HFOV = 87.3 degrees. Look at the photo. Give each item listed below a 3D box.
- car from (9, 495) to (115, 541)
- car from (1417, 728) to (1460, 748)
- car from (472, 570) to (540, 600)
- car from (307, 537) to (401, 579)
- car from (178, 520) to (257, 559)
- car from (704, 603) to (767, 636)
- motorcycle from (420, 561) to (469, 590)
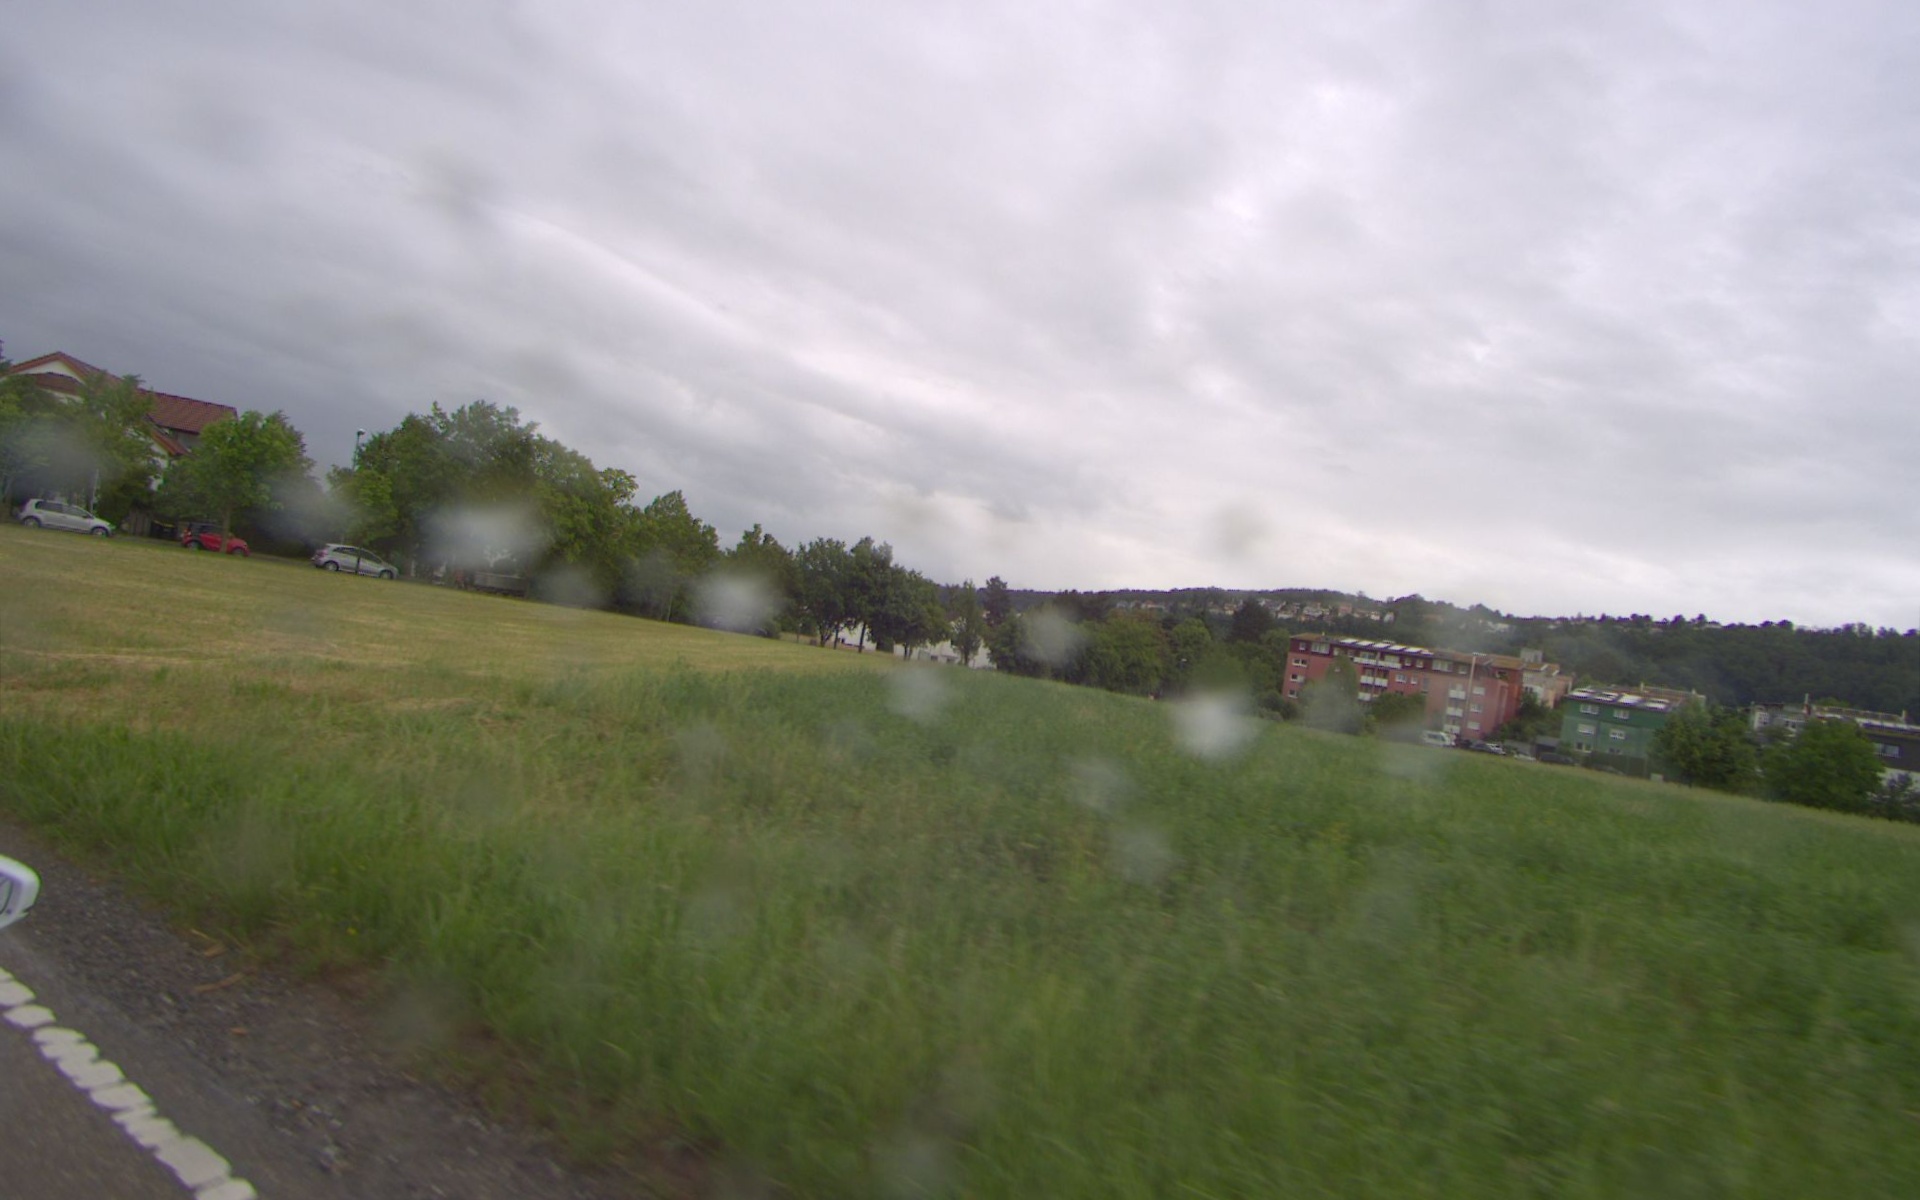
[{"bbox_3d":[-41.995,-3.809,47.168,3.531,1.496,1.661,9,-3,-41],"label":"car"},{"bbox_3d":[70.232,20.227,147.595,1.987,2.037,5.222,8,-3,-41],"label":"car"},{"bbox_3d":[-27.758,-0.930,61.566,1.710,1.295,3.314,6,-3,43],"label":"car"},{"bbox_3d":[-33.506,-2.322,55.686,1.827,1.569,3.974,6,-4,43],"label":"car"},{"bbox_3d":[-37.796,-3.075,51.207,2.994,1.452,1.536,10,-3,-42],"label":"car"},{"bbox_3d":[-16.623,1.438,74.543,1.935,1.623,3.990,7,-5,41],"label":"car"},{"bbox_3d":[-30.039,-1.420,58.649,0.958,1.316,2.256,7,-3,43],"label":"motorcycle"}]
